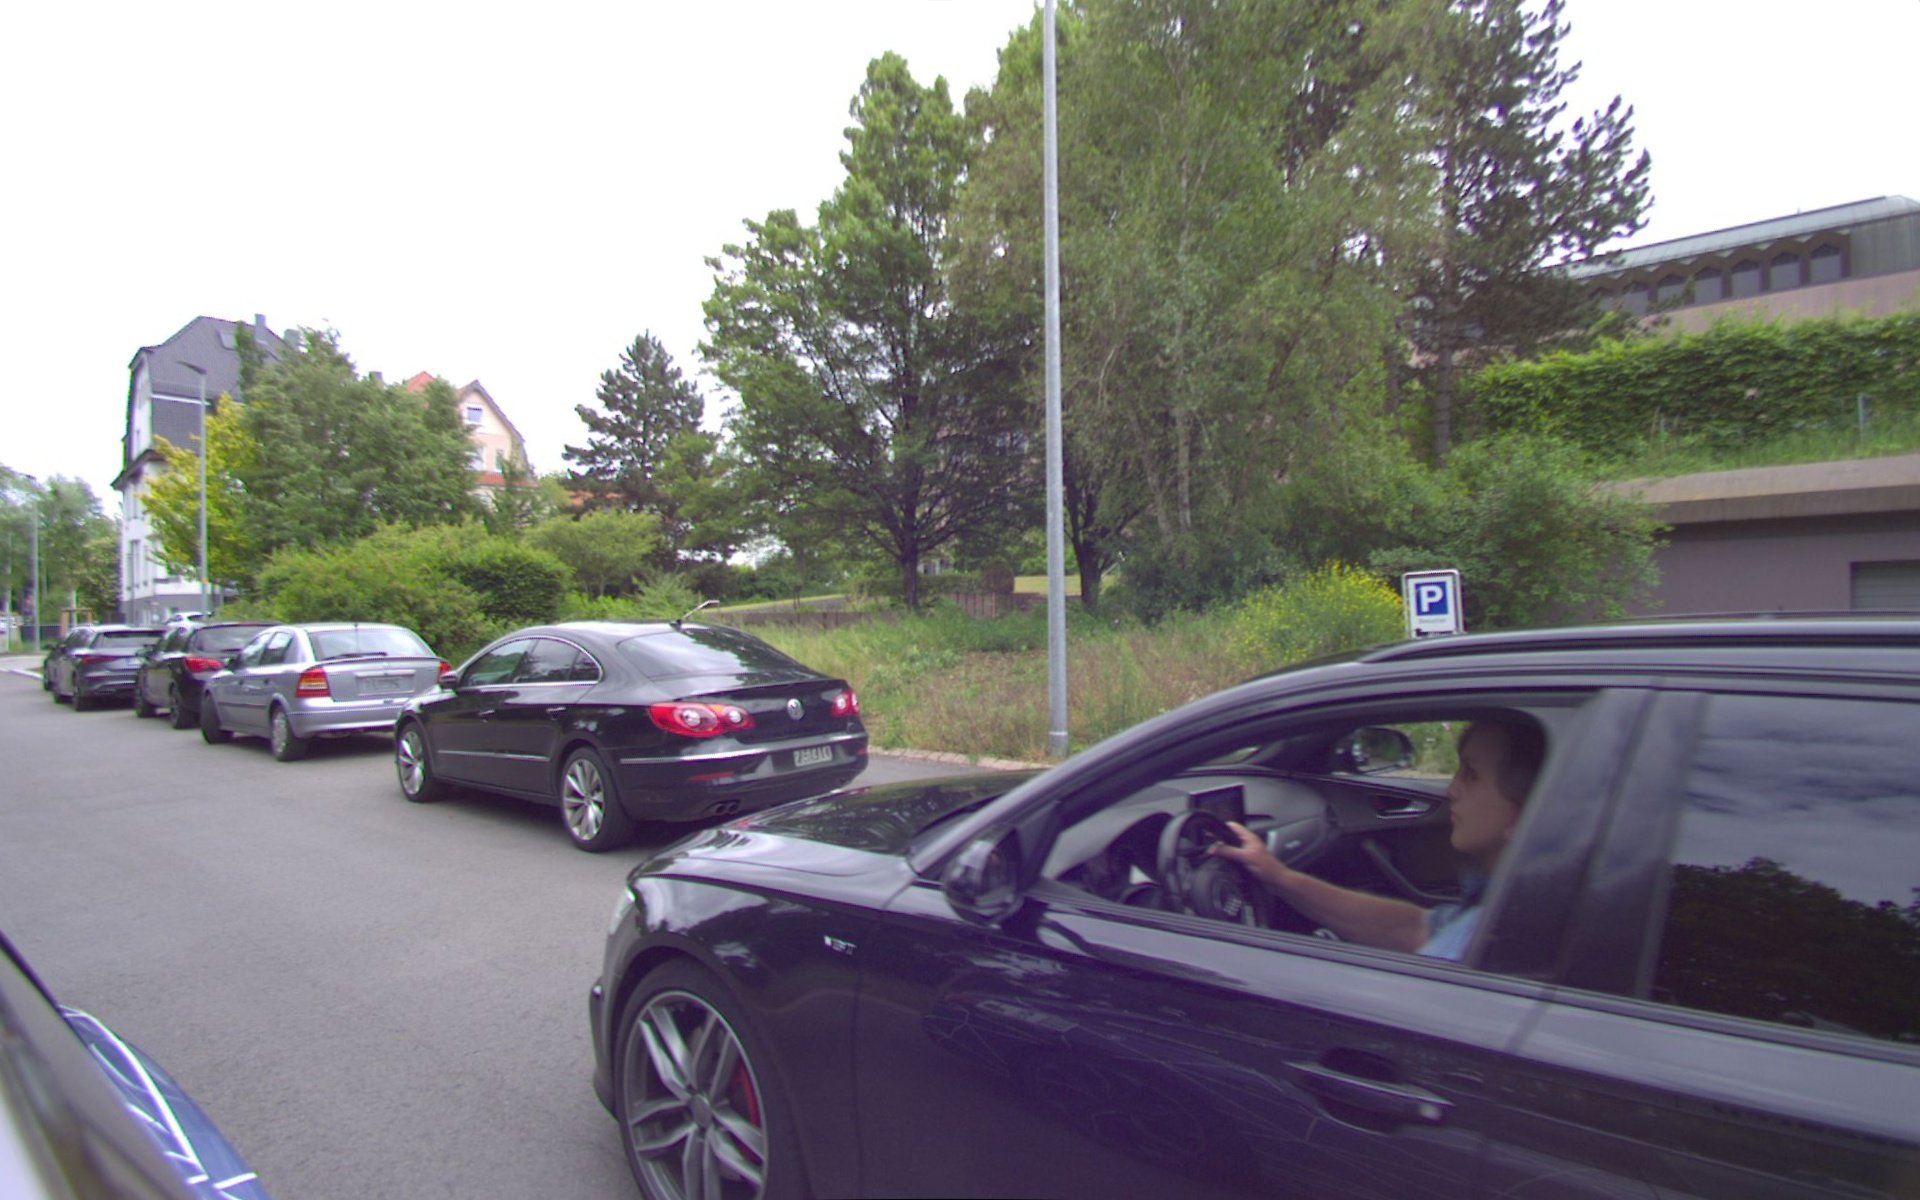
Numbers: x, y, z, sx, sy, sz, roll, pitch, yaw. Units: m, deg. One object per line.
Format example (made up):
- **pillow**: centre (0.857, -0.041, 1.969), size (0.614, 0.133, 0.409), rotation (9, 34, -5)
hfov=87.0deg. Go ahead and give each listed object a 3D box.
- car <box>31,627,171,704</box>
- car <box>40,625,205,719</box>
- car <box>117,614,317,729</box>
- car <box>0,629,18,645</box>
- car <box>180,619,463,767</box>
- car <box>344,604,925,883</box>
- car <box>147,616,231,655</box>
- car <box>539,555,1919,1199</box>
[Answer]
- **car**: centre (-18.785, 1.345, 22.051), size (4.691, 1.493, 1.665), rotation (-2, -2, 41)
- **car**: centre (-15.338, 1.220, 18.446), size (4.494, 1.493, 1.688), rotation (-2, -2, 42)
- **car**: centre (-11.239, 0.990, 15.210), size (3.998, 1.493, 1.607), rotation (-2, -2, 41)
- **car**: centre (-87.711, 3.376, 92.703), size (1.709, 1.439, 3.465), rotation (1, -1, -37)
- **car**: centre (-7.624, 0.965, 11.912), size (4.348, 1.443, 1.607), rotation (-2, -2, 40)
- **car**: centre (-2.743, 0.808, 7.644), size (5.101, 1.442, 1.760), rotation (-2, -1, 40)
- **car**: centre (-35.504, 1.580, 46.565), size (4.589, 1.544, 1.888), rotation (0, 3, 37)
- **car**: centre (1.227, 0.678, 1.738), size (4.486, 1.436, 1.762), rotation (-2, -1, 40)
